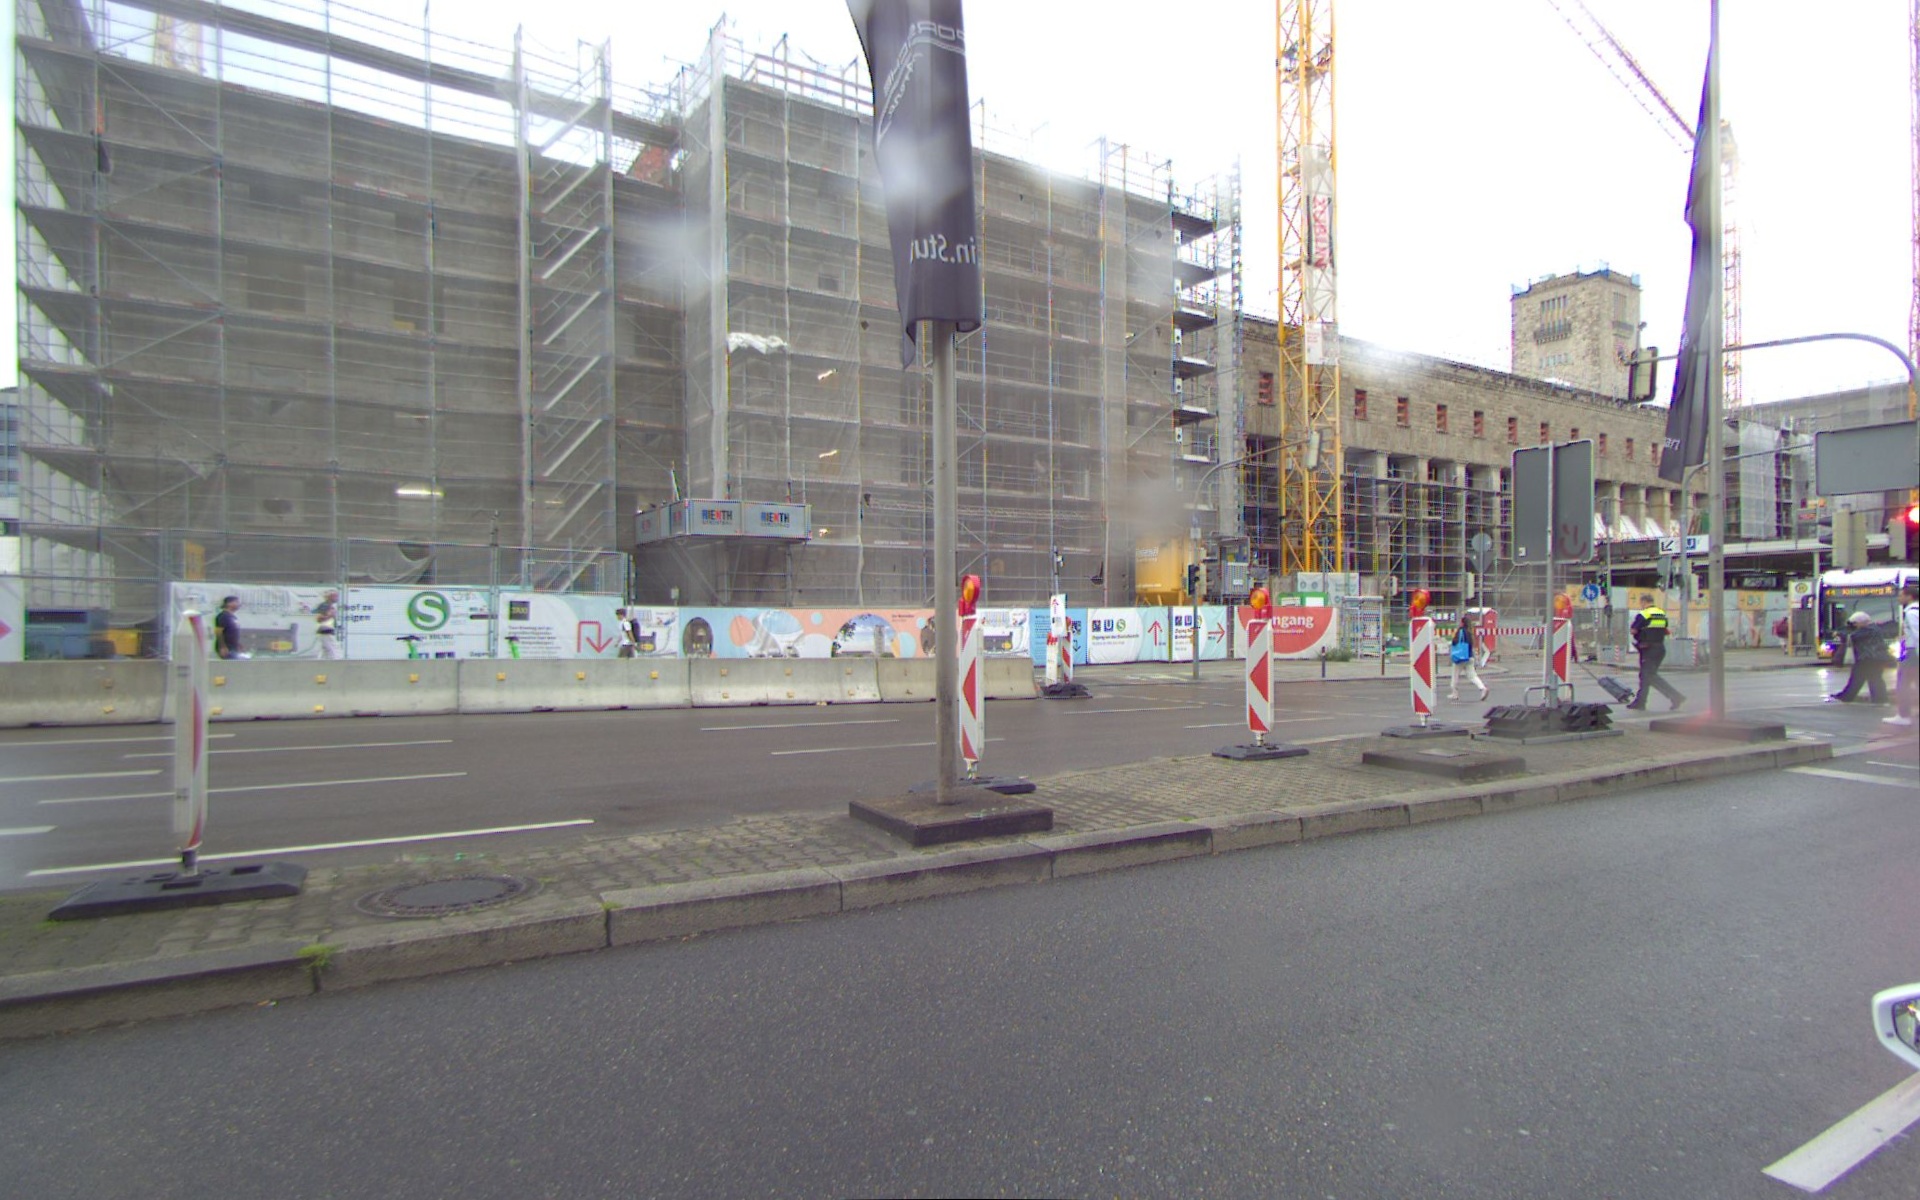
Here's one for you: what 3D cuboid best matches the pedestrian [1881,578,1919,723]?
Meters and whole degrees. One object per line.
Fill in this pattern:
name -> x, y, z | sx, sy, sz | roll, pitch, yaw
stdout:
pedestrian -> 12.939, 0.675, 13.441 | 0.614, 1.915, 0.793 | 1, 0, -38

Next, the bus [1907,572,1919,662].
bus -> 44.044, 0.824, 42.762 | 10.092, 3.650, 2.655 | 2, 0, -30

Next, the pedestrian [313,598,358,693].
pedestrian -> -12.480, 0.901, 20.084 | 0.709, 1.860, 0.478 | 1, 0, -30

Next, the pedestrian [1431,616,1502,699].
pedestrian -> 10.088, 1.125, 20.017 | 0.890, 1.584, 0.909 | 1, 0, -33

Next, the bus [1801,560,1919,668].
bus -> 35.387, 0.576, 37.629 | 10.119, 3.650, 2.655 | 2, 0, -30

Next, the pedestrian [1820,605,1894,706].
pedestrian -> 14.817, 0.897, 16.603 | 0.863, 1.581, 0.783 | 2, 0, 42

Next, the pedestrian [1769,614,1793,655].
pedestrian -> 38.500, 1.623, 47.096 | 0.789, 1.879, 0.658 | 1, -1, -30

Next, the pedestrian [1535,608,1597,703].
pedestrian -> 11.372, 1.030, 18.856 | 0.613, 1.740, 0.794 | 1, -2, -33

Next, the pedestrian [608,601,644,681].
pedestrian -> -7.959, 0.968, 23.930 | 0.709, 1.860, 0.478 | 1, 0, -30

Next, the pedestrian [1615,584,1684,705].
pedestrian -> 10.928, 0.692, 15.912 | 0.810, 1.860, 0.575 | 1, 0, -30

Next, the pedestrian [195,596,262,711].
pedestrian -> -12.203, 0.880, 16.776 | 0.810, 1.860, 0.575 | 1, 0, -30
